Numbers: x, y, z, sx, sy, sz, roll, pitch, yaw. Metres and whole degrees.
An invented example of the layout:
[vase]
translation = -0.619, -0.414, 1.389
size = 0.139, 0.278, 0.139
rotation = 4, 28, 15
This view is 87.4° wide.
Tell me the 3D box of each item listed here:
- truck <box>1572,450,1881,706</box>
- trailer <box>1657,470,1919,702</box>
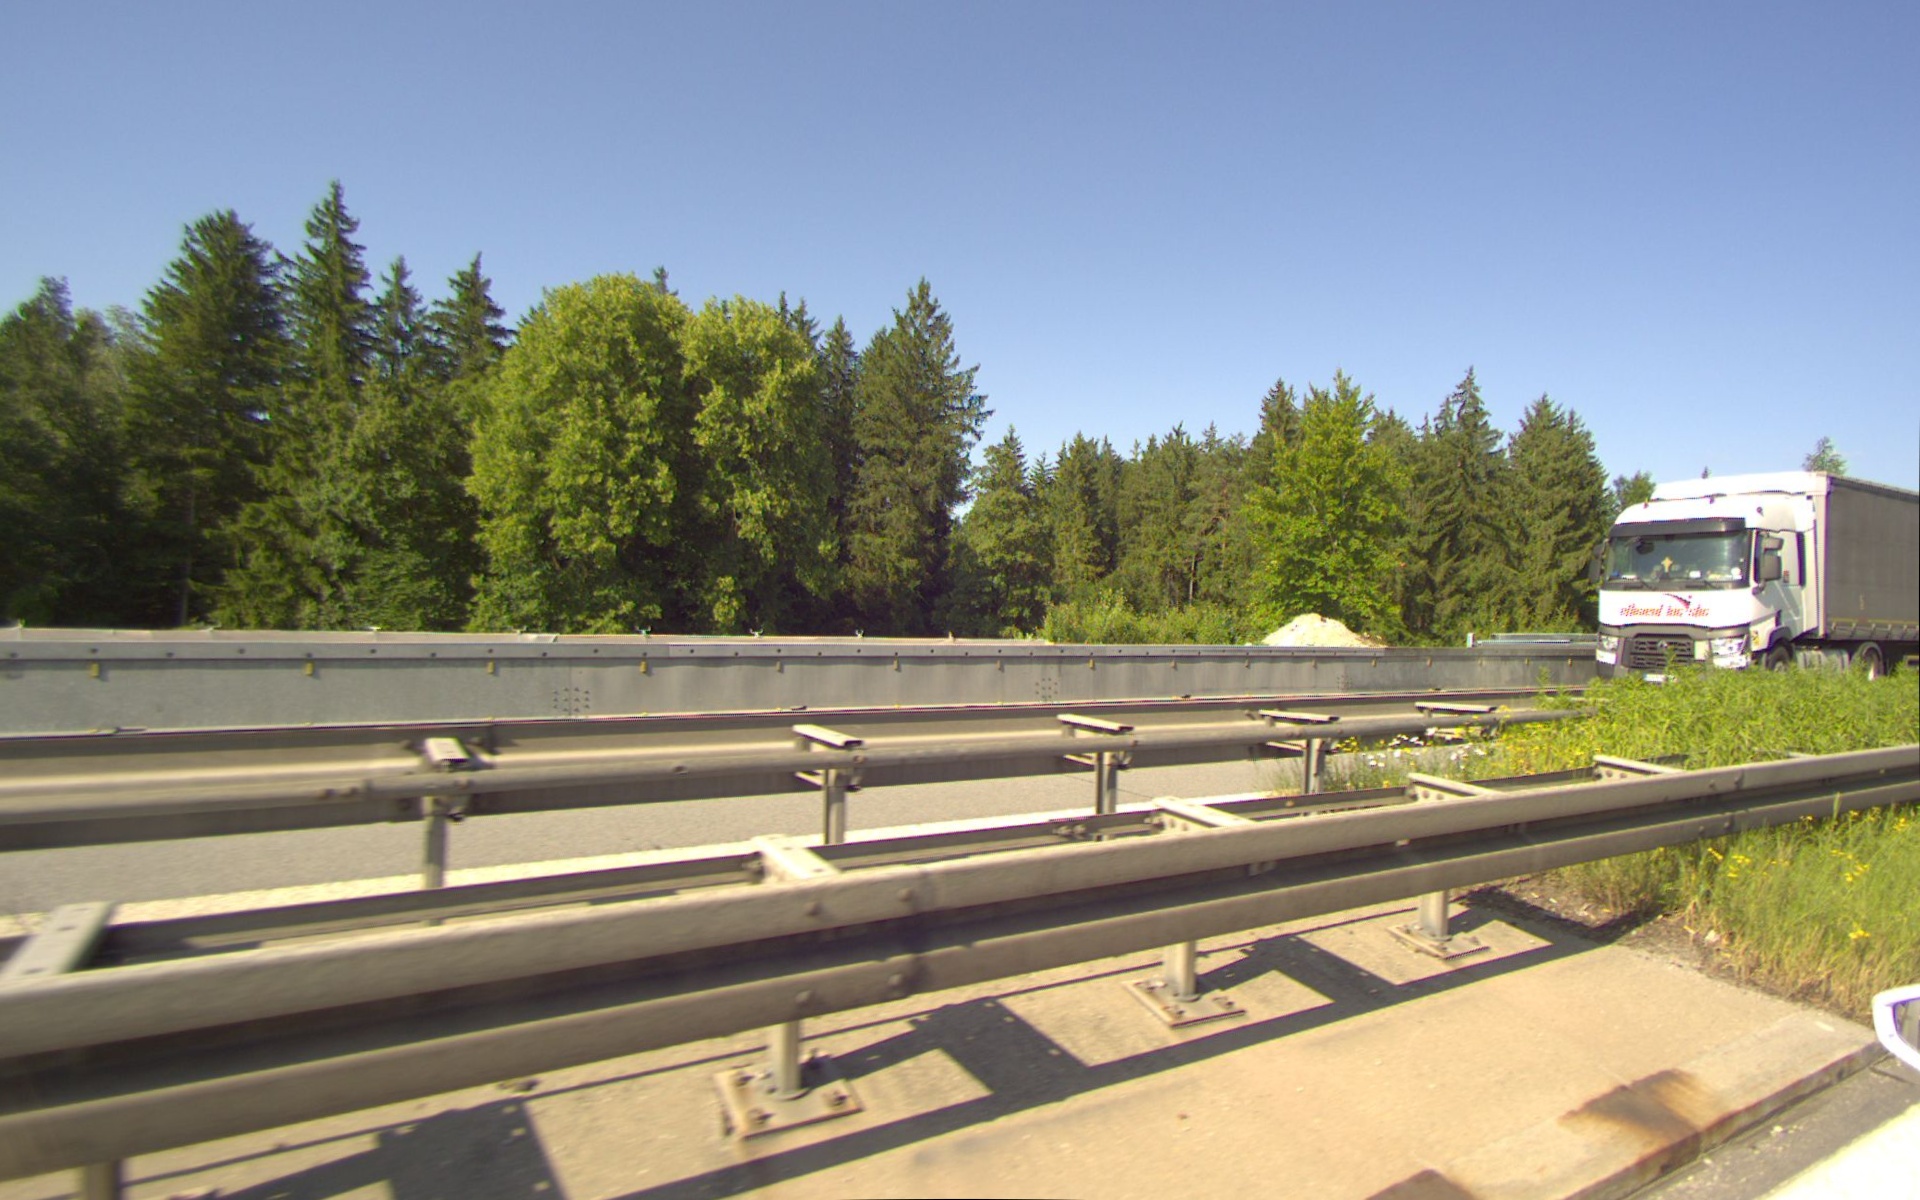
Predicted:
[truck]
translation = 14.430, -0.286, 18.859
size = 5.412, 4.142, 2.757
rotation = 2, -1, -31
[trailer]
translation = 20.713, -0.068, 22.614
size = 13.834, 4.124, 2.728
rotation = 2, -1, -31
